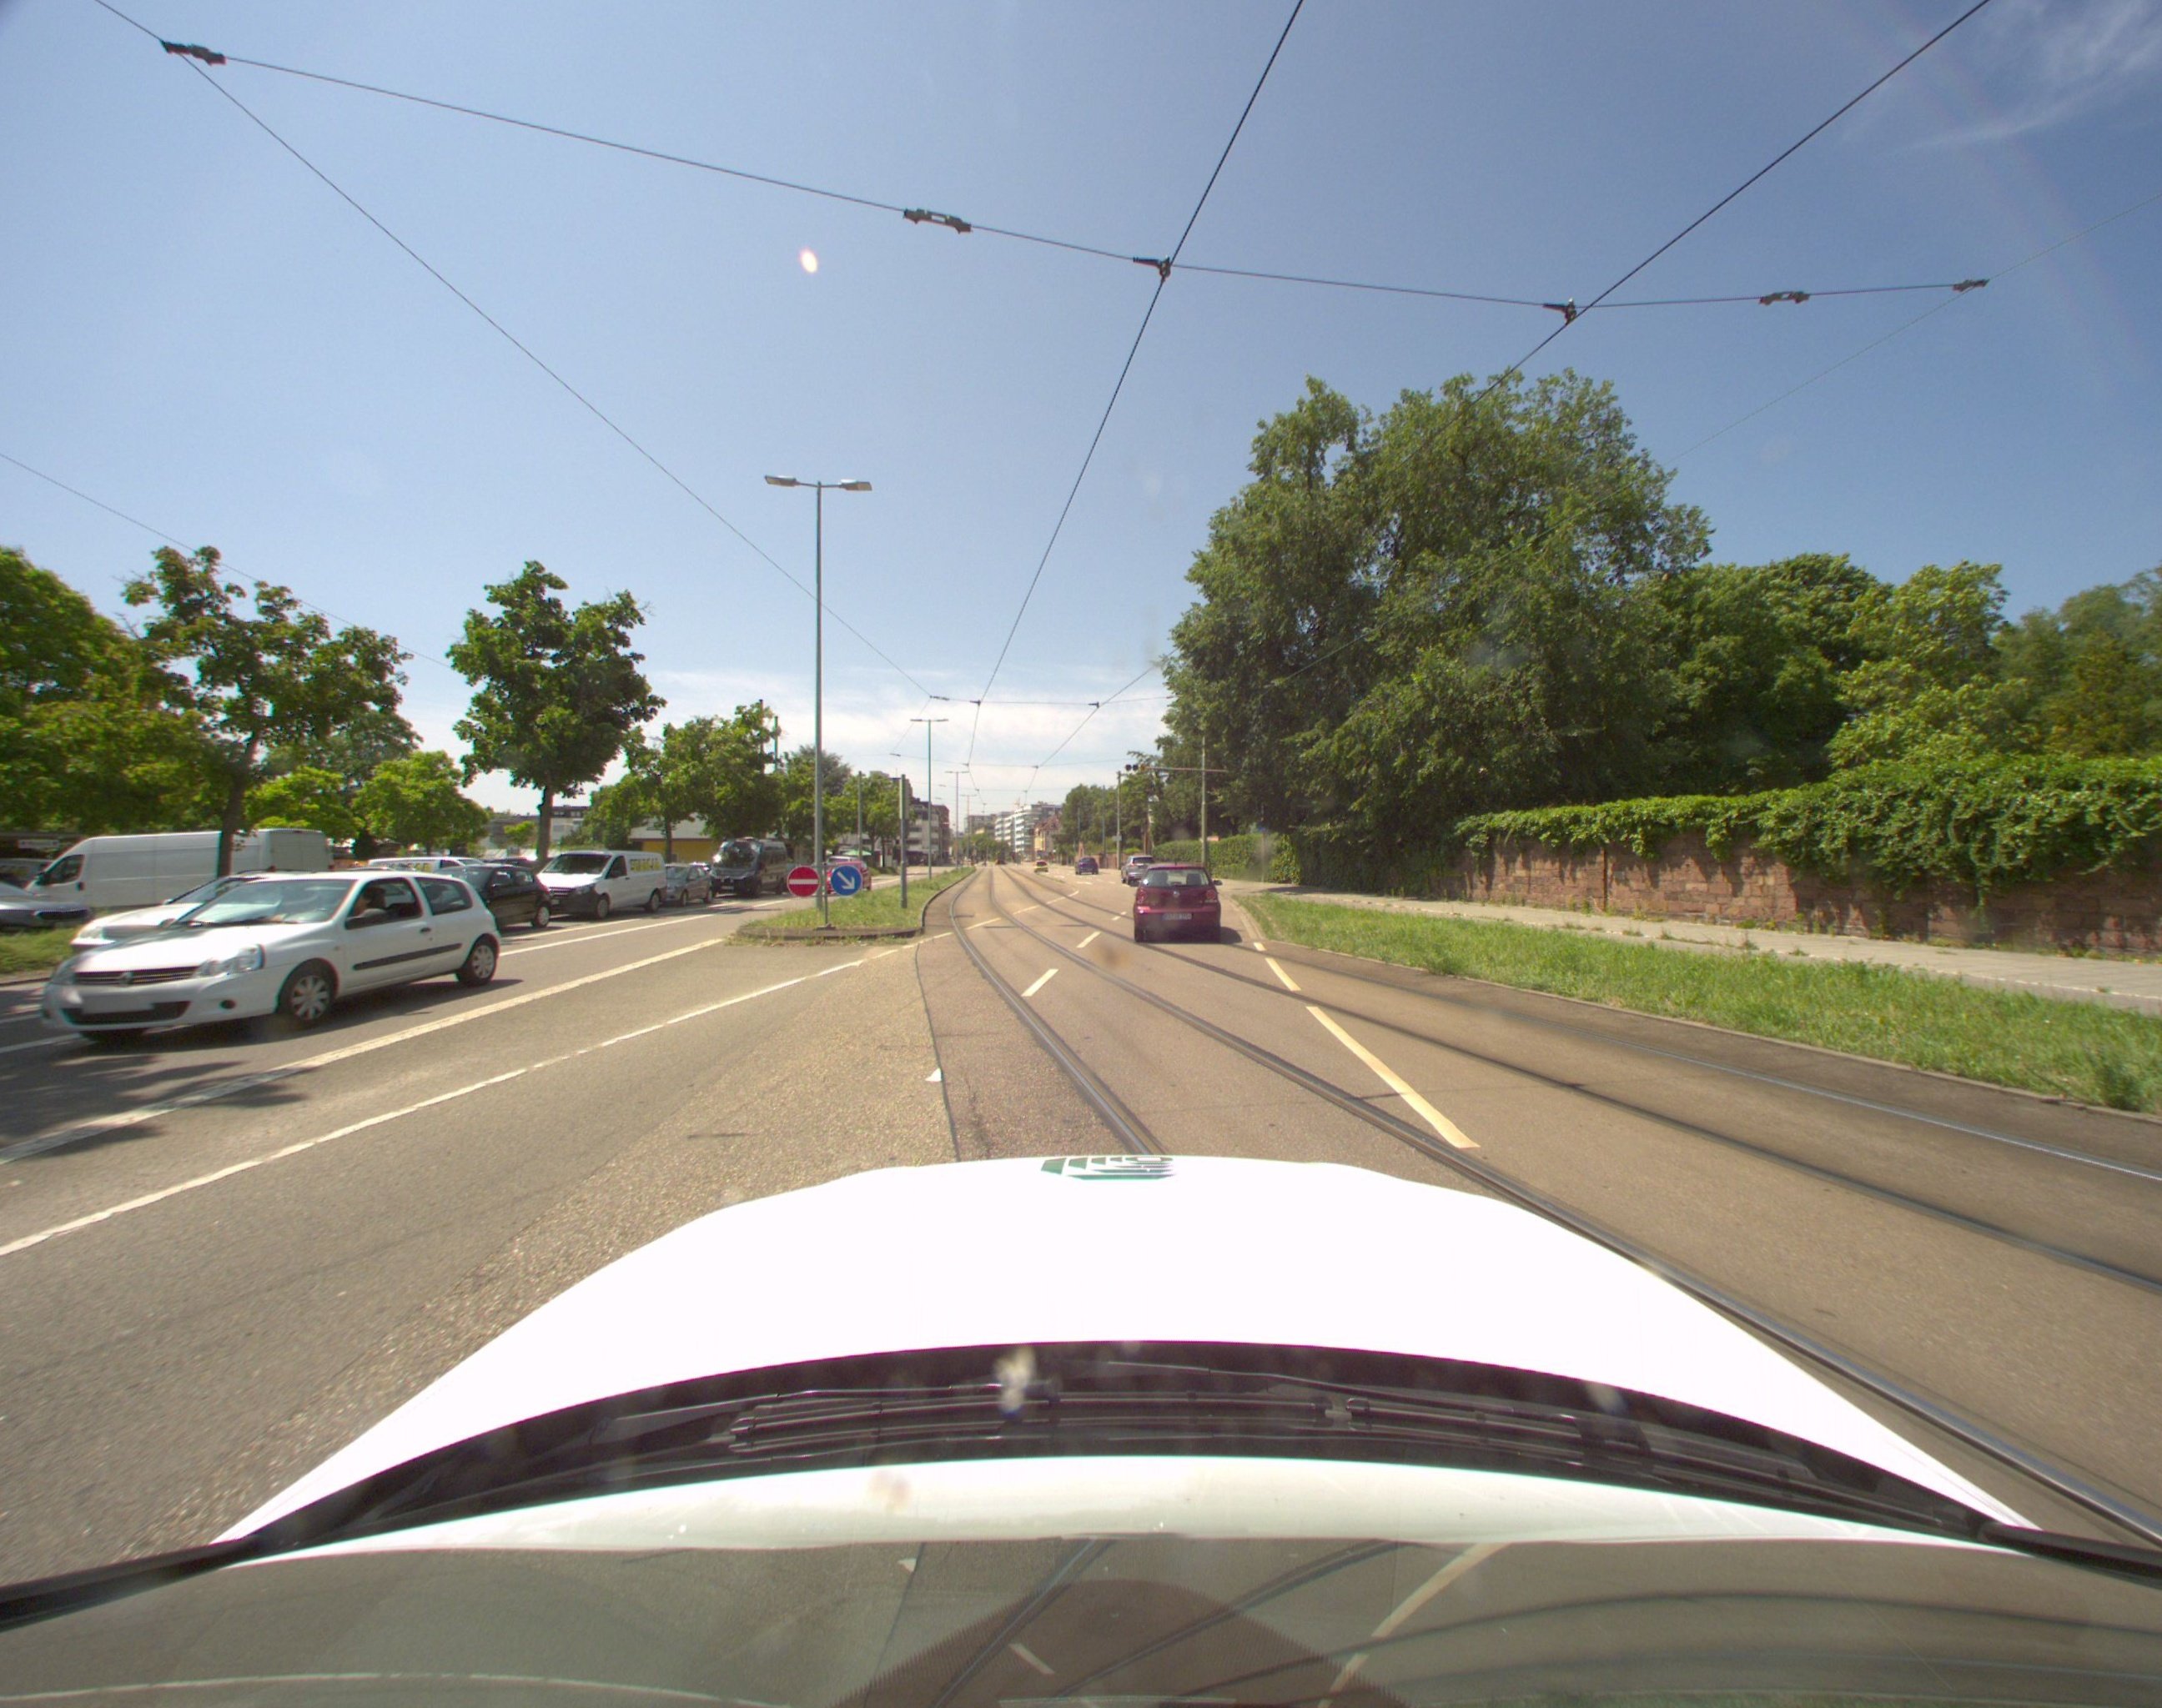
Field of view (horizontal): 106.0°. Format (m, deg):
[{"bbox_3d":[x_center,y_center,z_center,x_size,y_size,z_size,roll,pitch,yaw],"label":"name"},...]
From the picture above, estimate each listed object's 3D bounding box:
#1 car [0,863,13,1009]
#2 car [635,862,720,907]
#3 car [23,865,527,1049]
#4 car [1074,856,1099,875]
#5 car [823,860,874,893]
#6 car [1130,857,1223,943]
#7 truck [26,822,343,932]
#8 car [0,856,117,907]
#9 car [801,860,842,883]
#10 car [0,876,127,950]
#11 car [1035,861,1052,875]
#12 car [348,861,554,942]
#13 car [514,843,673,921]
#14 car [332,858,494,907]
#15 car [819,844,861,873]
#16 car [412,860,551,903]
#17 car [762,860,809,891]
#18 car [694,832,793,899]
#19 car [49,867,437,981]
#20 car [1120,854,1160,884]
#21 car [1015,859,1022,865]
[{"bbox_3d":[-12.177,0.839,6.792,1.668,1.546,3.721,1,-1,-4],"label":"car"},{"bbox_3d":[-14.426,1.041,29.340,1.403,1.440,3.831,3,-1,-6],"label":"car"},{"bbox_3d":[-7.729,0.839,8.431,1.646,1.376,3.802,-3,-1,-6],"label":"car"},{"bbox_3d":[0.508,1.062,76.284,1.773,1.631,3.990,1,0,-7],"label":"car"},{"bbox_3d":[-10.761,1.028,37.912,1.655,1.410,3.597,-2,0,-7],"label":"car"},{"bbox_3d":[1.852,0.829,16.503,1.602,1.498,4.005,-1,0,4],"label":"car"},{"bbox_3d":[-24.146,0.571,22.206,5.570,2.759,2.427,-1,0,-6],"label":"truck"},{"bbox_3d":[-38.295,0.977,29.585,4.121,1.820,1.775,0,0,-5],"label":"car"},{"bbox_3d":[-16.834,1.103,52.953,1.628,1.420,3.861,2,-1,-4],"label":"car"},{"bbox_3d":[-23.194,1.220,16.896,4.207,1.411,1.851,-1,0,-8],"label":"car"},{"bbox_3d":[-4.673,1.689,100.873,1.793,1.683,3.992,1,0,-6],"label":"car"},{"bbox_3d":[-13.456,0.941,17.712,1.611,1.484,3.779,3,-1,-4],"label":"car"},{"bbox_3d":[-13.884,0.757,23.610,1.859,1.937,4.798,3,-1,-4],"label":"car"},{"bbox_3d":[-26.601,1.116,32.582,4.715,1.813,1.791,-1,0,-8],"label":"car"},{"bbox_3d":[-17.537,0.317,59.494,1.873,1.965,5.153,3,-1,-6],"label":"car"},{"bbox_3d":[-27.005,1.202,36.826,4.715,1.813,1.791,-1,0,-8],"label":"car"},{"bbox_3d":[-15.763,1.133,43.606,1.310,1.522,4.015,3,-1,-6],"label":"car"},{"bbox_3d":[-15.159,0.499,37.077,2.395,2.656,6.159,3,-1,-6],"label":"car"},{"bbox_3d":[-13.001,0.977,13.213,1.717,1.427,4.759,2,-1,-7],"label":"car"},{"bbox_3d":[3.382,0.849,47.288,1.792,1.683,3.994,1,0,-4],"label":"car"},{"bbox_3d":[-13.933,1.736,181.909,1.352,1.252,2.966,1,0,-6],"label":"car"}]
